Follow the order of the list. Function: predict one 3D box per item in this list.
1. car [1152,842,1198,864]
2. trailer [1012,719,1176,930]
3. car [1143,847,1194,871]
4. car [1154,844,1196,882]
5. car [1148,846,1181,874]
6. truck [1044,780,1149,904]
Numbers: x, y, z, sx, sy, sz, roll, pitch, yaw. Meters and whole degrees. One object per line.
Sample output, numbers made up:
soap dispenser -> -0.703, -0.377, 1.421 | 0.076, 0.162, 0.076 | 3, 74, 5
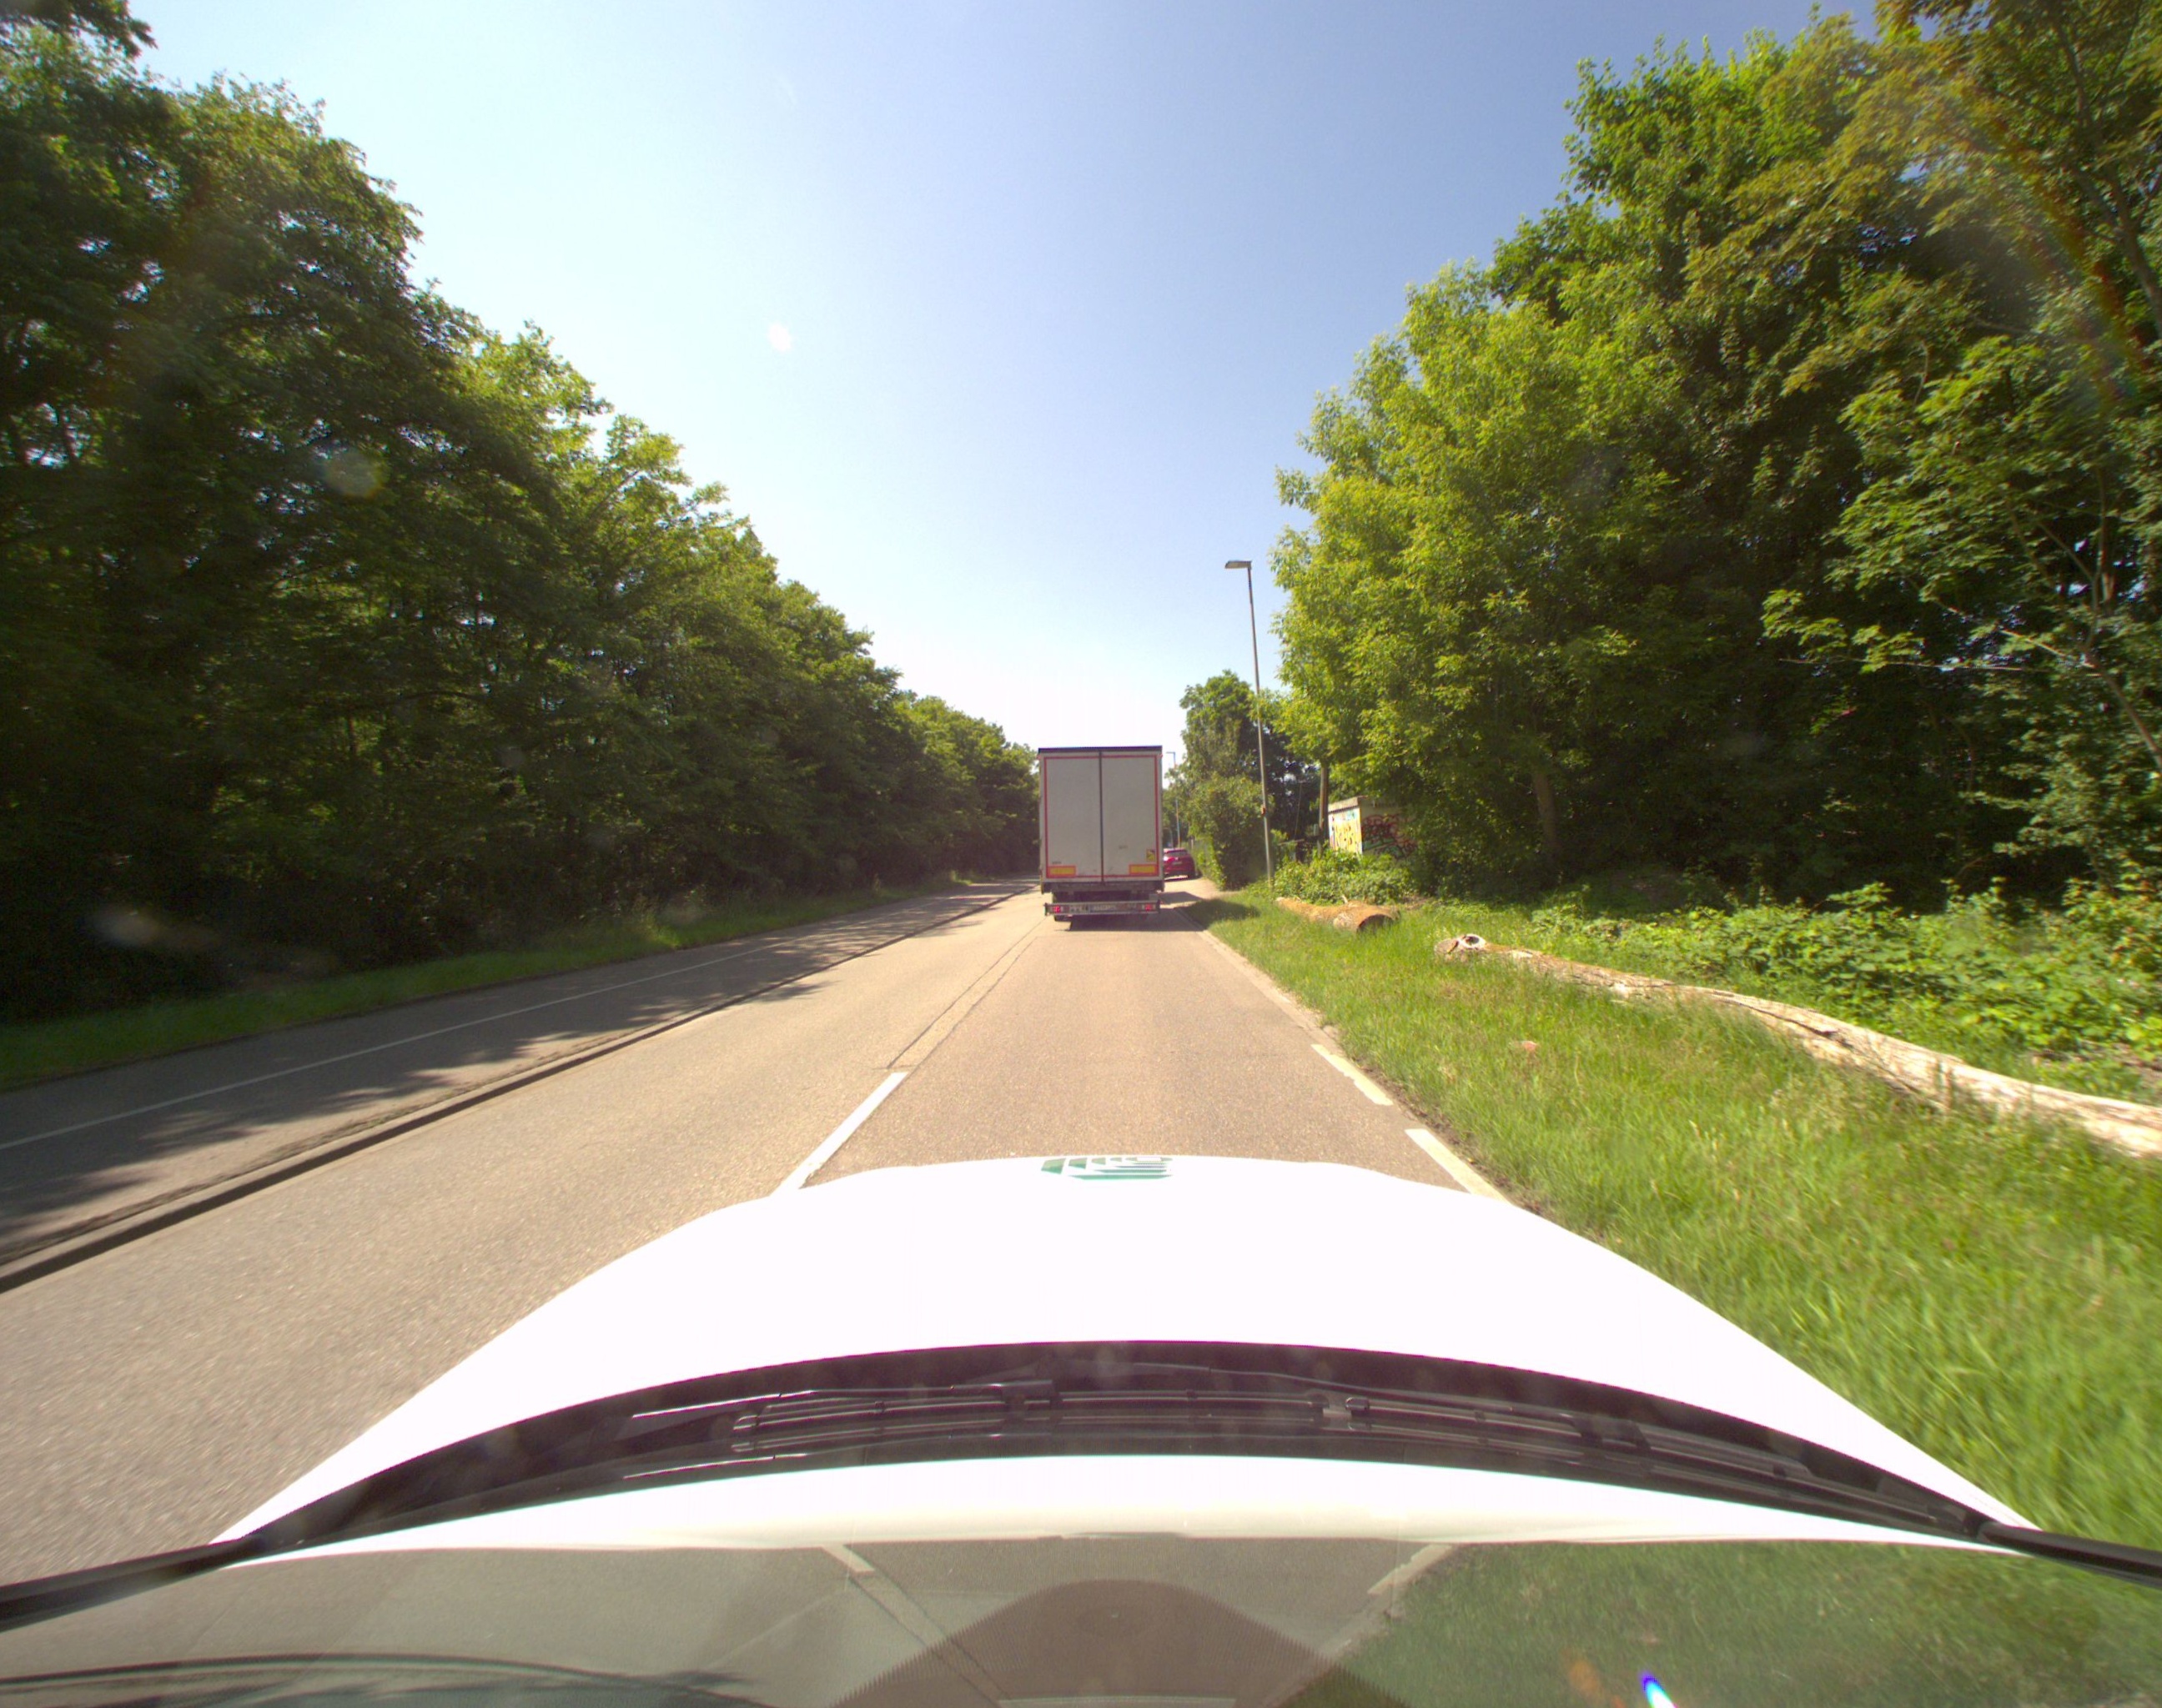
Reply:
car -> 9.195, -0.111, 79.787 | 4.236, 1.698, 1.857 | -7, -1, 6
trailer -> 0.416, -0.599, 22.239 | 3.101, 4.102, 11.540 | -3, 0, 1
car -> 8.050, 0.440, 75.181 | 4.452, 1.704, 1.915 | -7, 0, 2
car -> 4.893, 0.442, 42.922 | 1.782, 1.658, 4.456 | -7, 0, 3
car -> 5.381, 0.368, 52.949 | 1.782, 1.603, 4.133 | -5, 1, 3
truck -> 0.555, -0.391, 28.821 | 3.103, 3.725, 6.414 | -3, 0, 1
